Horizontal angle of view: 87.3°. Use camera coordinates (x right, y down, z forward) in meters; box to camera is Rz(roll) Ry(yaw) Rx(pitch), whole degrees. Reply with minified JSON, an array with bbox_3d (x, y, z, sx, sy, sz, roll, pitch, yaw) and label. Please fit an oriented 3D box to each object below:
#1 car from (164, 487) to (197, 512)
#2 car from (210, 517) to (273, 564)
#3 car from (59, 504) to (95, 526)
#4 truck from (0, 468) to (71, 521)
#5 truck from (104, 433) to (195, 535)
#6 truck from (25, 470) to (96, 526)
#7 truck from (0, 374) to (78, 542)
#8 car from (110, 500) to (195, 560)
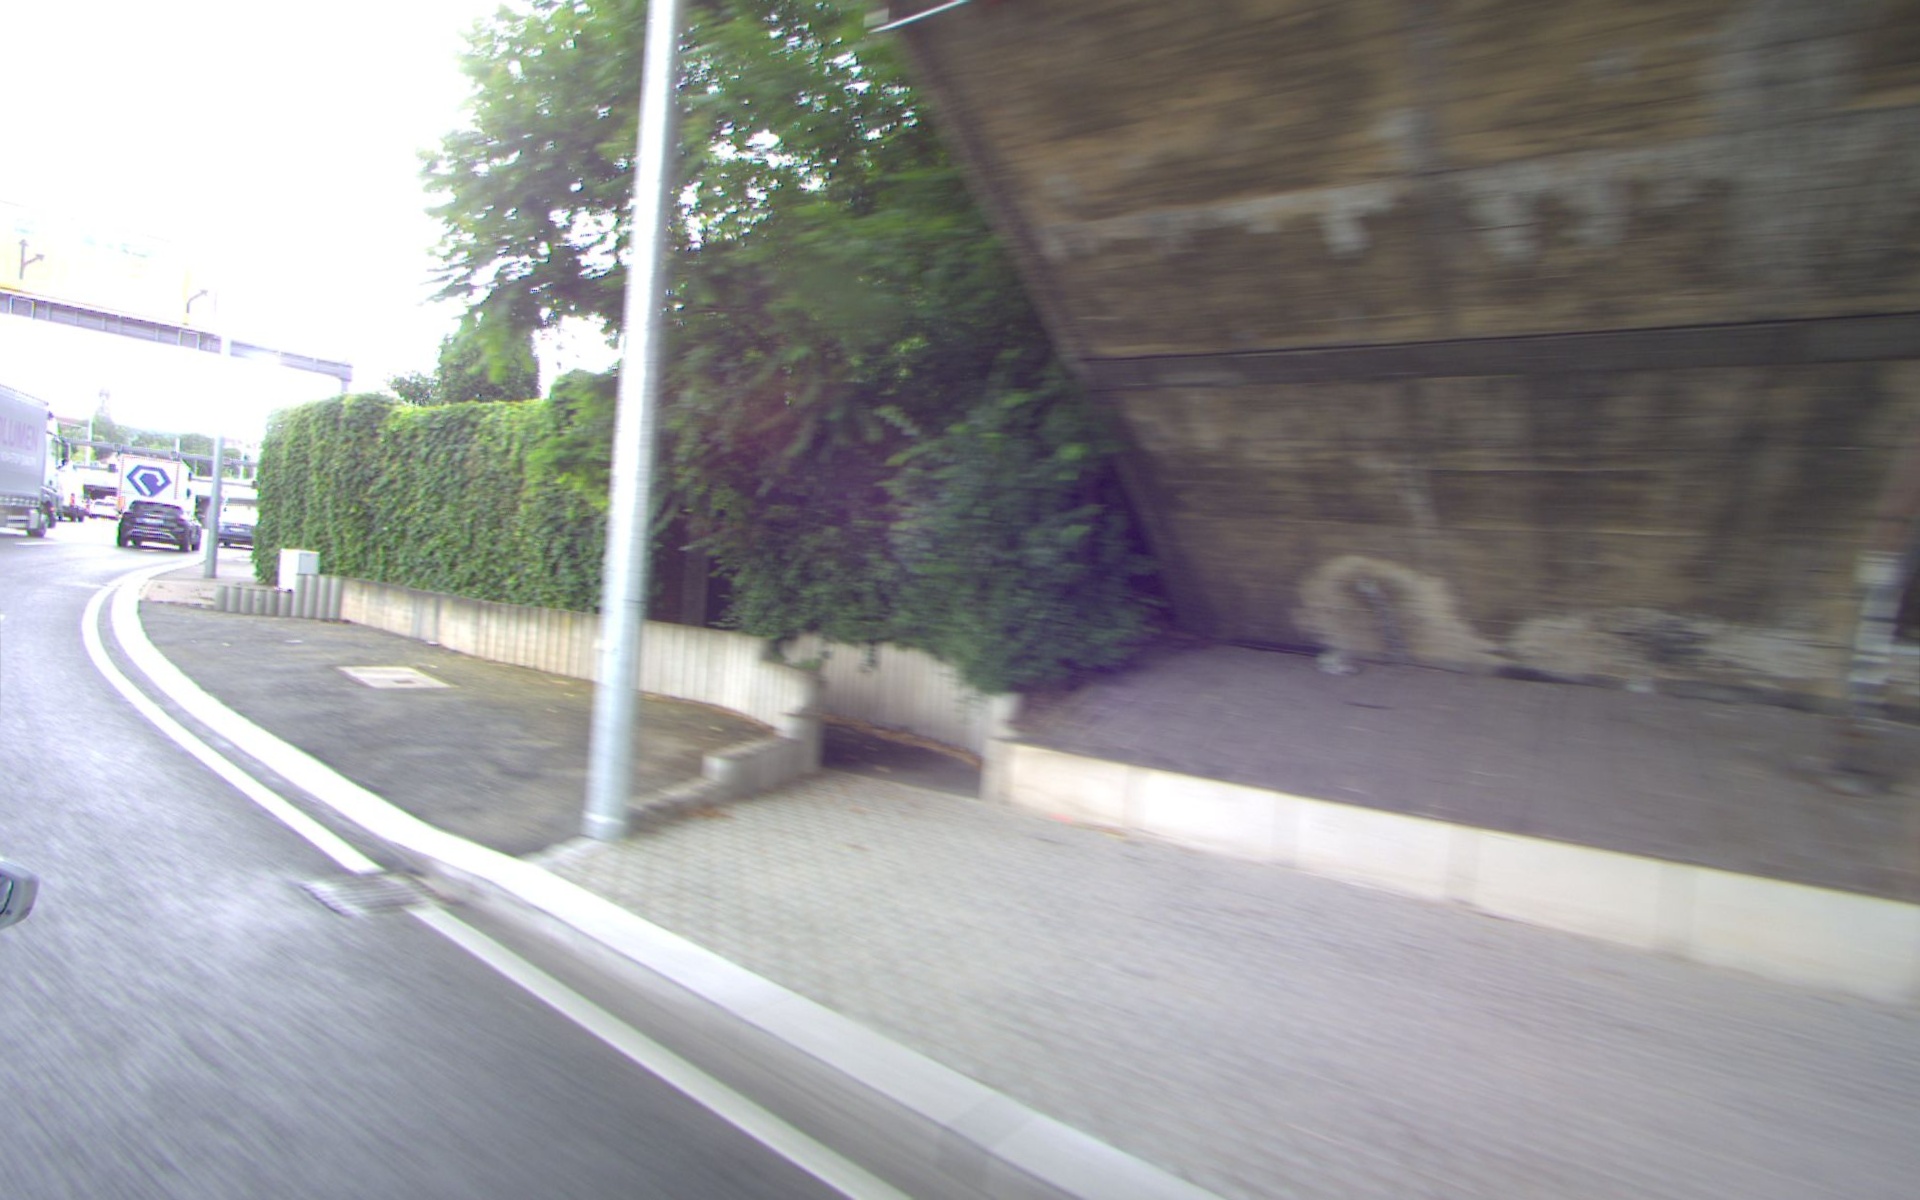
[{"bbox_3d":[-70.884,-9.104,91.526,1.984,1.803,3.963,9,-3,-35],"label":"car"},{"bbox_3d":[-30.199,-2.509,42.232,1.883,1.646,3.959,7,-1,-37],"label":"car"},{"bbox_3d":[-84.621,-8.098,96.451,1.982,1.704,3.962,7,-1,-35],"label":"car"},{"bbox_3d":[-44.899,-5.061,48.913,1.985,2.054,3.795,9,-2,-37],"label":"truck"},{"bbox_3d":[-46.353,-6.446,57.784,3.049,4.858,9.069,9,-2,-36],"label":"truck"},{"bbox_3d":[-48.481,-5.455,54.280,1.982,2.503,3.966,9,-2,-33],"label":"truck"},{"bbox_3d":[-26.900,-3.850,26.198,3.697,4.193,10.894,6,0,-31],"label":"truck"},{"bbox_3d":[-25.440,-2.173,31.809,1.883,1.538,3.960,7,-2,-37],"label":"car"}]
